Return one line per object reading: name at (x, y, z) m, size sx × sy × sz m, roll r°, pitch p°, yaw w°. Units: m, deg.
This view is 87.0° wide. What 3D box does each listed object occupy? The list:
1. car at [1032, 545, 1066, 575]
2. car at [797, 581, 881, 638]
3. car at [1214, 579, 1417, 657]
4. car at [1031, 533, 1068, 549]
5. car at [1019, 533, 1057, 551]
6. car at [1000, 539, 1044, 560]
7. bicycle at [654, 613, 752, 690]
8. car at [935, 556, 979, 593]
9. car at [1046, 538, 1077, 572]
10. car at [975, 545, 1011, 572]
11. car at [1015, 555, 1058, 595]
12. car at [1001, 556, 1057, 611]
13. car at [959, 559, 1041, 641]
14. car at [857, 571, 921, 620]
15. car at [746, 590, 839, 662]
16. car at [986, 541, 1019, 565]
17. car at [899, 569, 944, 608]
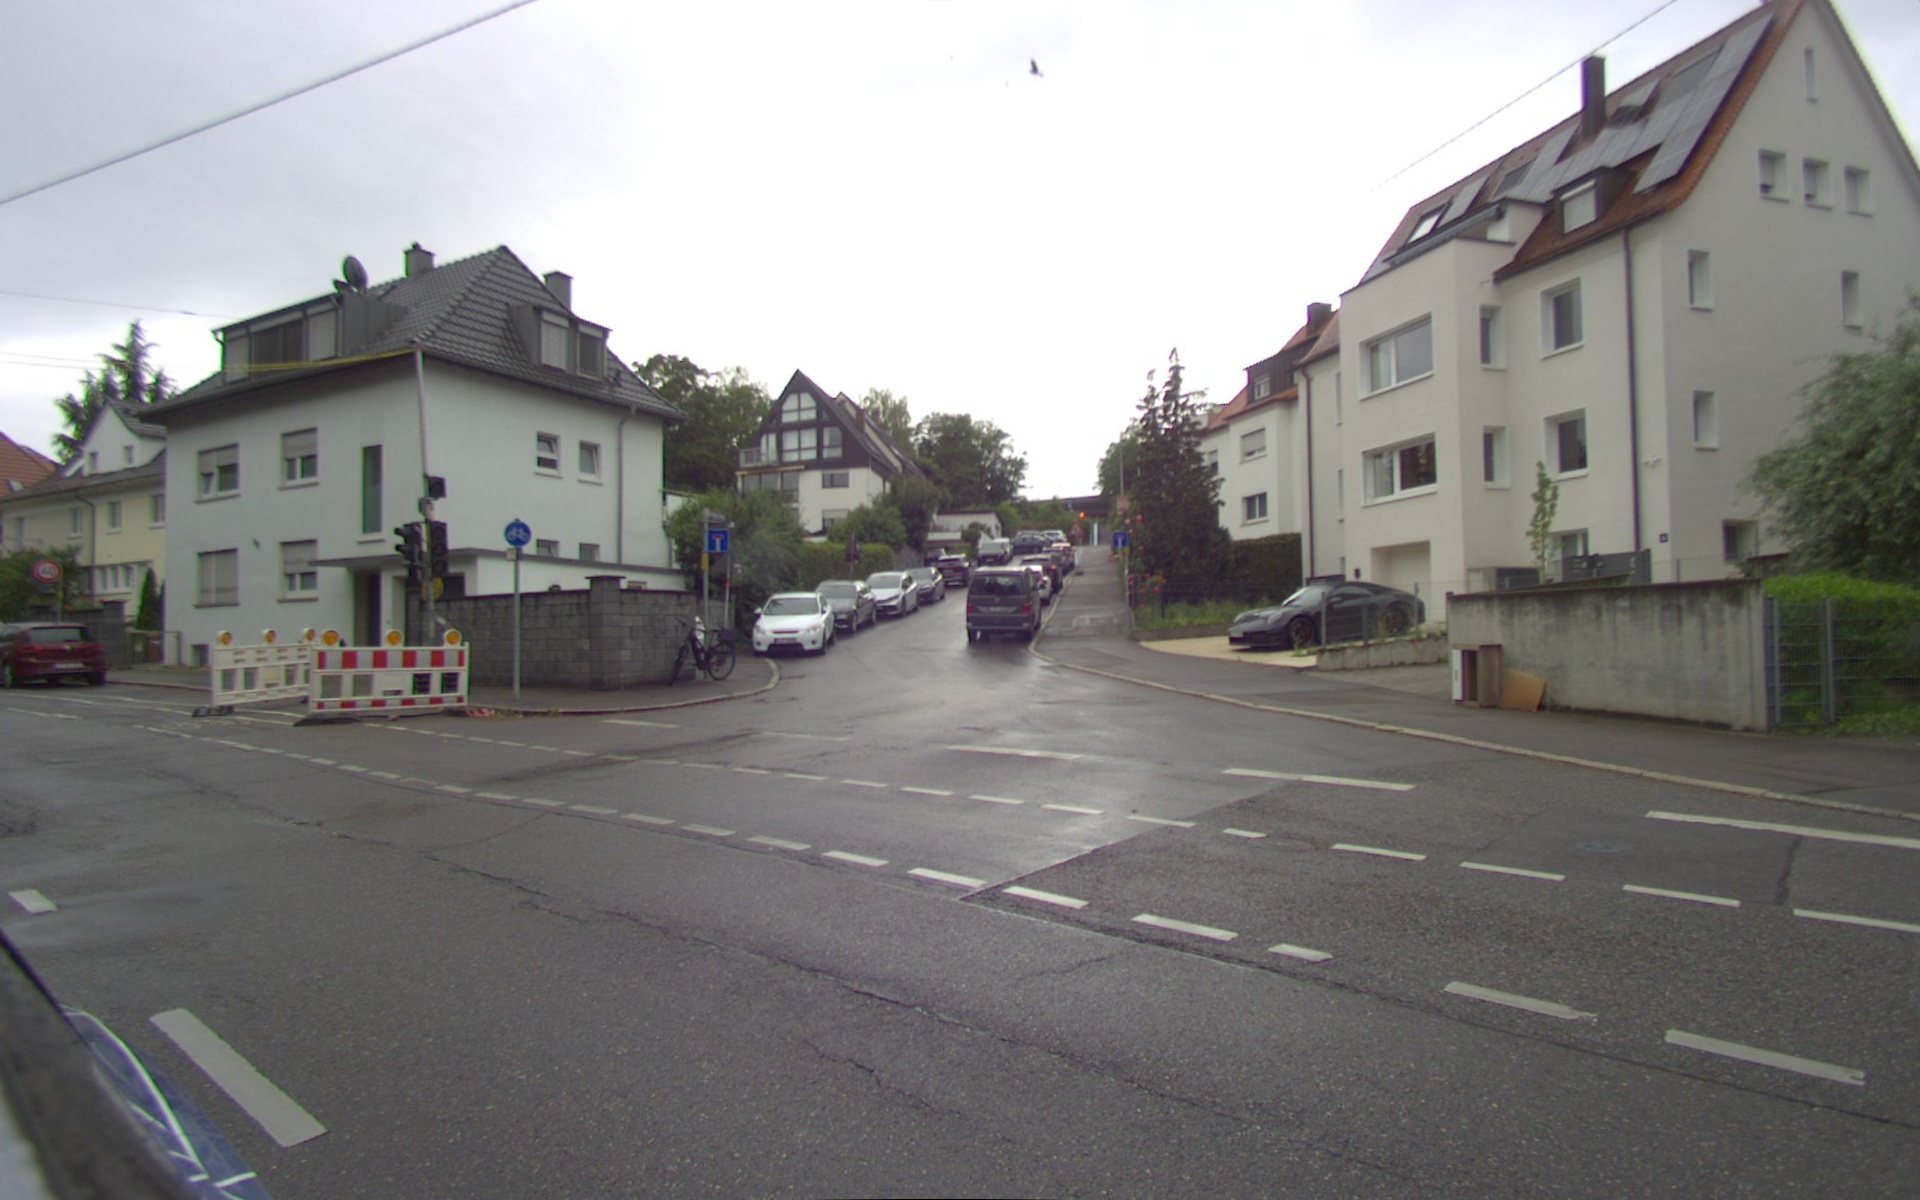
car at (5.171, -2.304, 58.313) m, size 1.677 × 1.479 × 3.553 m, roll -2°, pitch 5°, yaw 9°
car at (-3.732, 0.235, 31.827) m, size 1.684 × 1.476 × 3.847 m, roll -2°, pitch 3°, yaw 7°
car at (7.667, 0.355, 21.876) m, size 3.857 × 1.342 × 1.572 m, roll -4°, pitch 1°, yaw -16°
car at (9.167, -6.073, 103.772) m, size 3.492 × 1.510 × 1.614 m, roll -1°, pitch 6°, yaw 18°
car at (7.633, -5.657, 98.759) m, size 3.489 × 1.510 × 1.615 m, roll -1°, pitch 6°, yaw 16°
car at (5.133, -4.215, 83.768) m, size 3.572 × 1.510 × 1.578 m, roll -2°, pitch 5°, yaw 7°
bicycle at (-4.692, 0.912, 18.544) m, size 0.705 × 1.321 × 1.713 m, roll -1°, pitch 0°, yaw 33°
car at (-0.111, -1.356, 52.263) m, size 1.323 × 1.566 × 3.971 m, roll -1°, pitch 6°, yaw 13°
car at (6.306, -2.799, 62.548) m, size 1.677 × 1.871 × 3.553 m, roll -2°, pitch 5°, yaw 9°
car at (2.279, -2.843, 68.589) m, size 1.720 × 1.510 × 3.817 m, roll -1°, pitch 6°, yaw 13°
car at (3.458, -1.134, 45.197) m, size 1.565 × 1.479 × 3.553 m, roll -2°, pitch 5°, yaw 9°
car at (2.746, -0.684, 39.843) m, size 1.900 × 1.850 × 3.406 m, roll -2°, pitch 5°, yaw 9°
car at (1.218, -0.066, 28.898) m, size 1.893 × 1.950 × 3.789 m, roll -2°, pitch 5°, yaw 9°
car at (-2.542, -0.219, 36.947) m, size 1.564 × 1.476 × 3.847 m, roll -1°, pitch 5°, yaw 7°
car at (-4.193, 0.607, 25.852) m, size 1.726 × 1.476 × 3.561 m, roll -2°, pitch 3°, yaw 0°
car at (3.210, -3.539, 75.464) m, size 1.720 × 1.510 × 3.817 m, roll -1°, pitch 6°, yaw 13°
car at (-1.589, -0.515, 42.534) m, size 1.320 × 1.400 × 3.497 m, roll -1°, pitch 5°, yaw 7°
